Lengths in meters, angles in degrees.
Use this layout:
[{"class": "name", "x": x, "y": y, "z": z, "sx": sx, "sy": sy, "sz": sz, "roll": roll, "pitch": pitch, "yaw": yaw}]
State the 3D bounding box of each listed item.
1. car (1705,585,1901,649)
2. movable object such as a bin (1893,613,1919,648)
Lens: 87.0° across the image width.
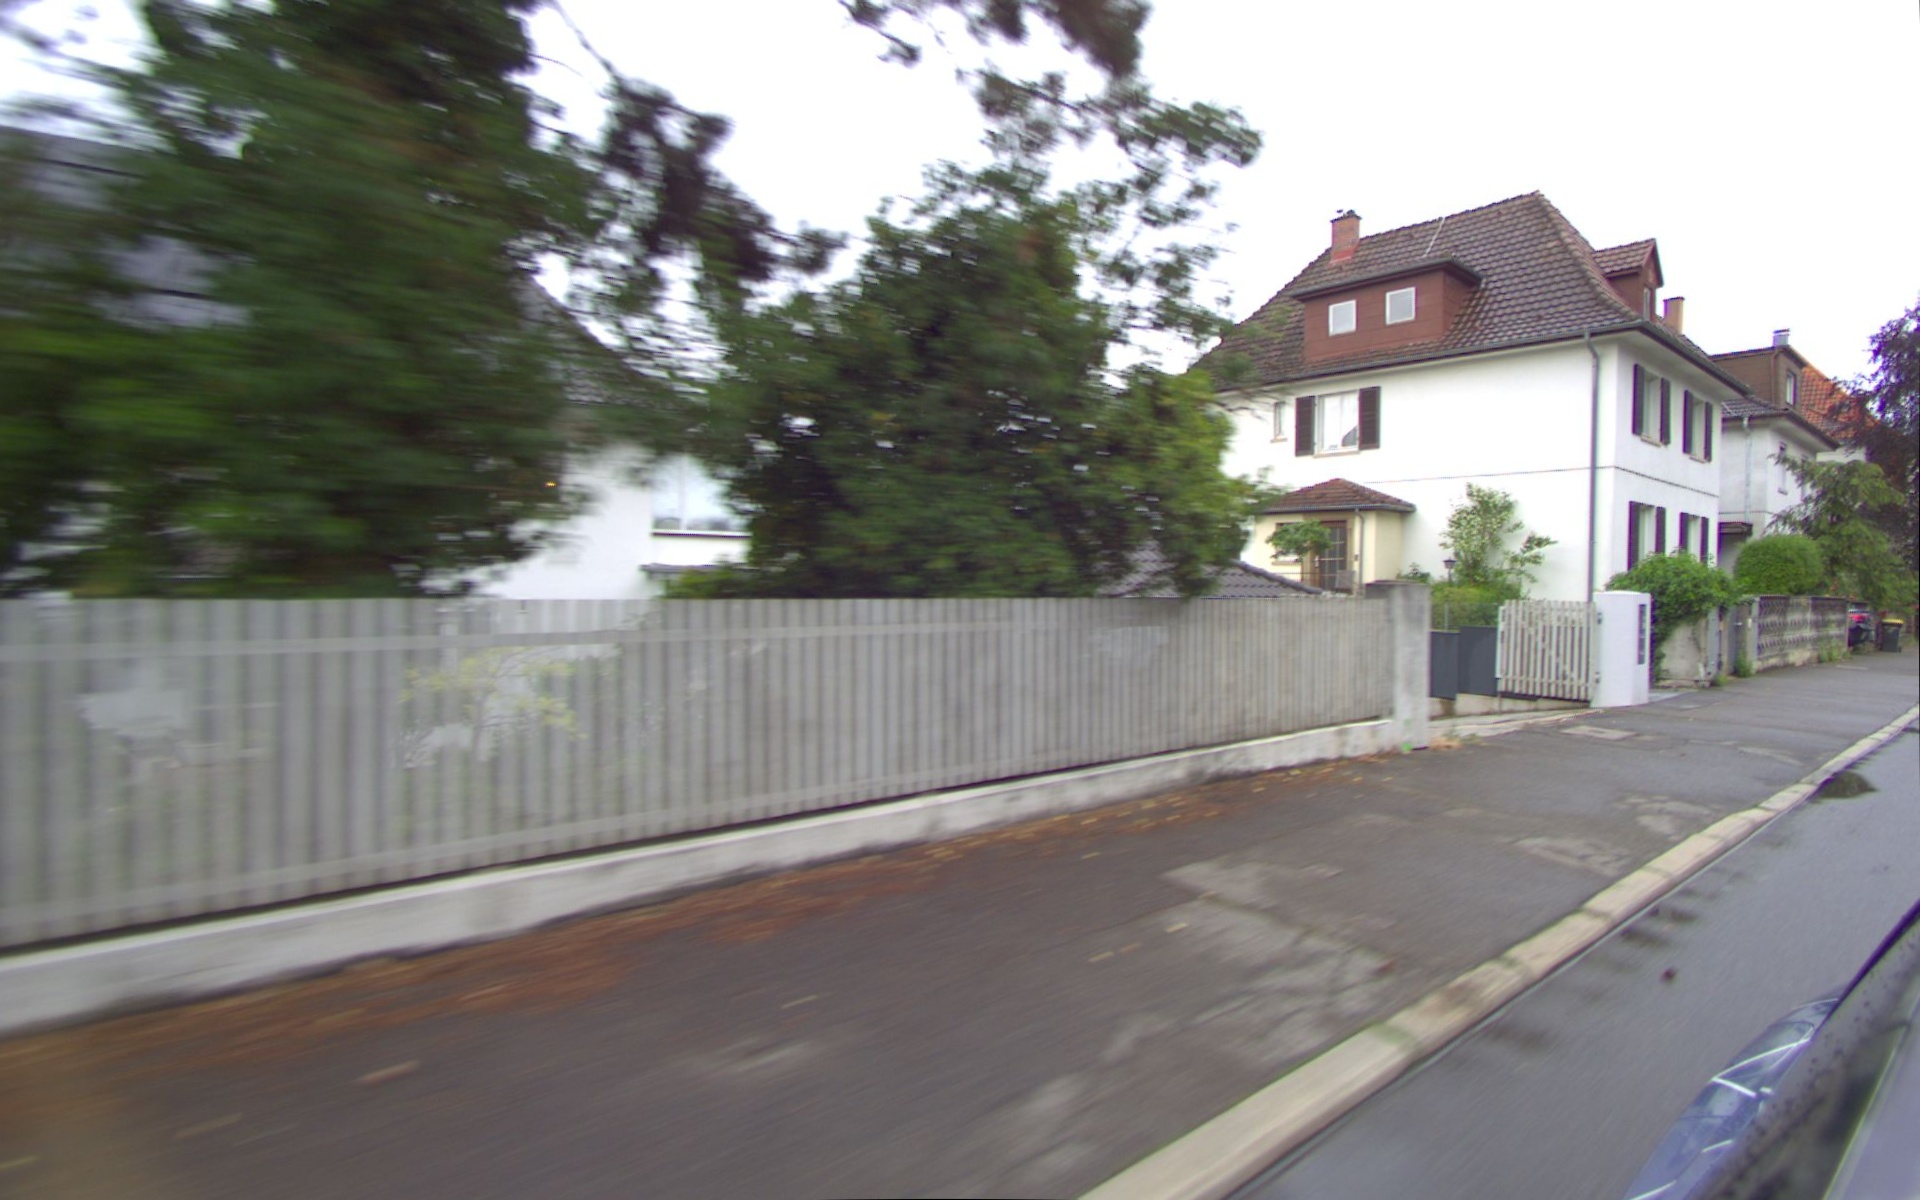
[{"class": "car", "x": 23.520, "y": 0.471, "z": 28.353, "sx": 1.885, "sy": 1.661, "sz": 3.993, "roll": 2, "pitch": -2, "yaw": -41}, {"class": "movable object such as a bin", "x": 26.921, "y": 0.859, "z": 28.794, "sx": 0.495, "sy": 0.968, "sz": 0.494, "roll": 2, "pitch": -2, "yaw": -43}]
